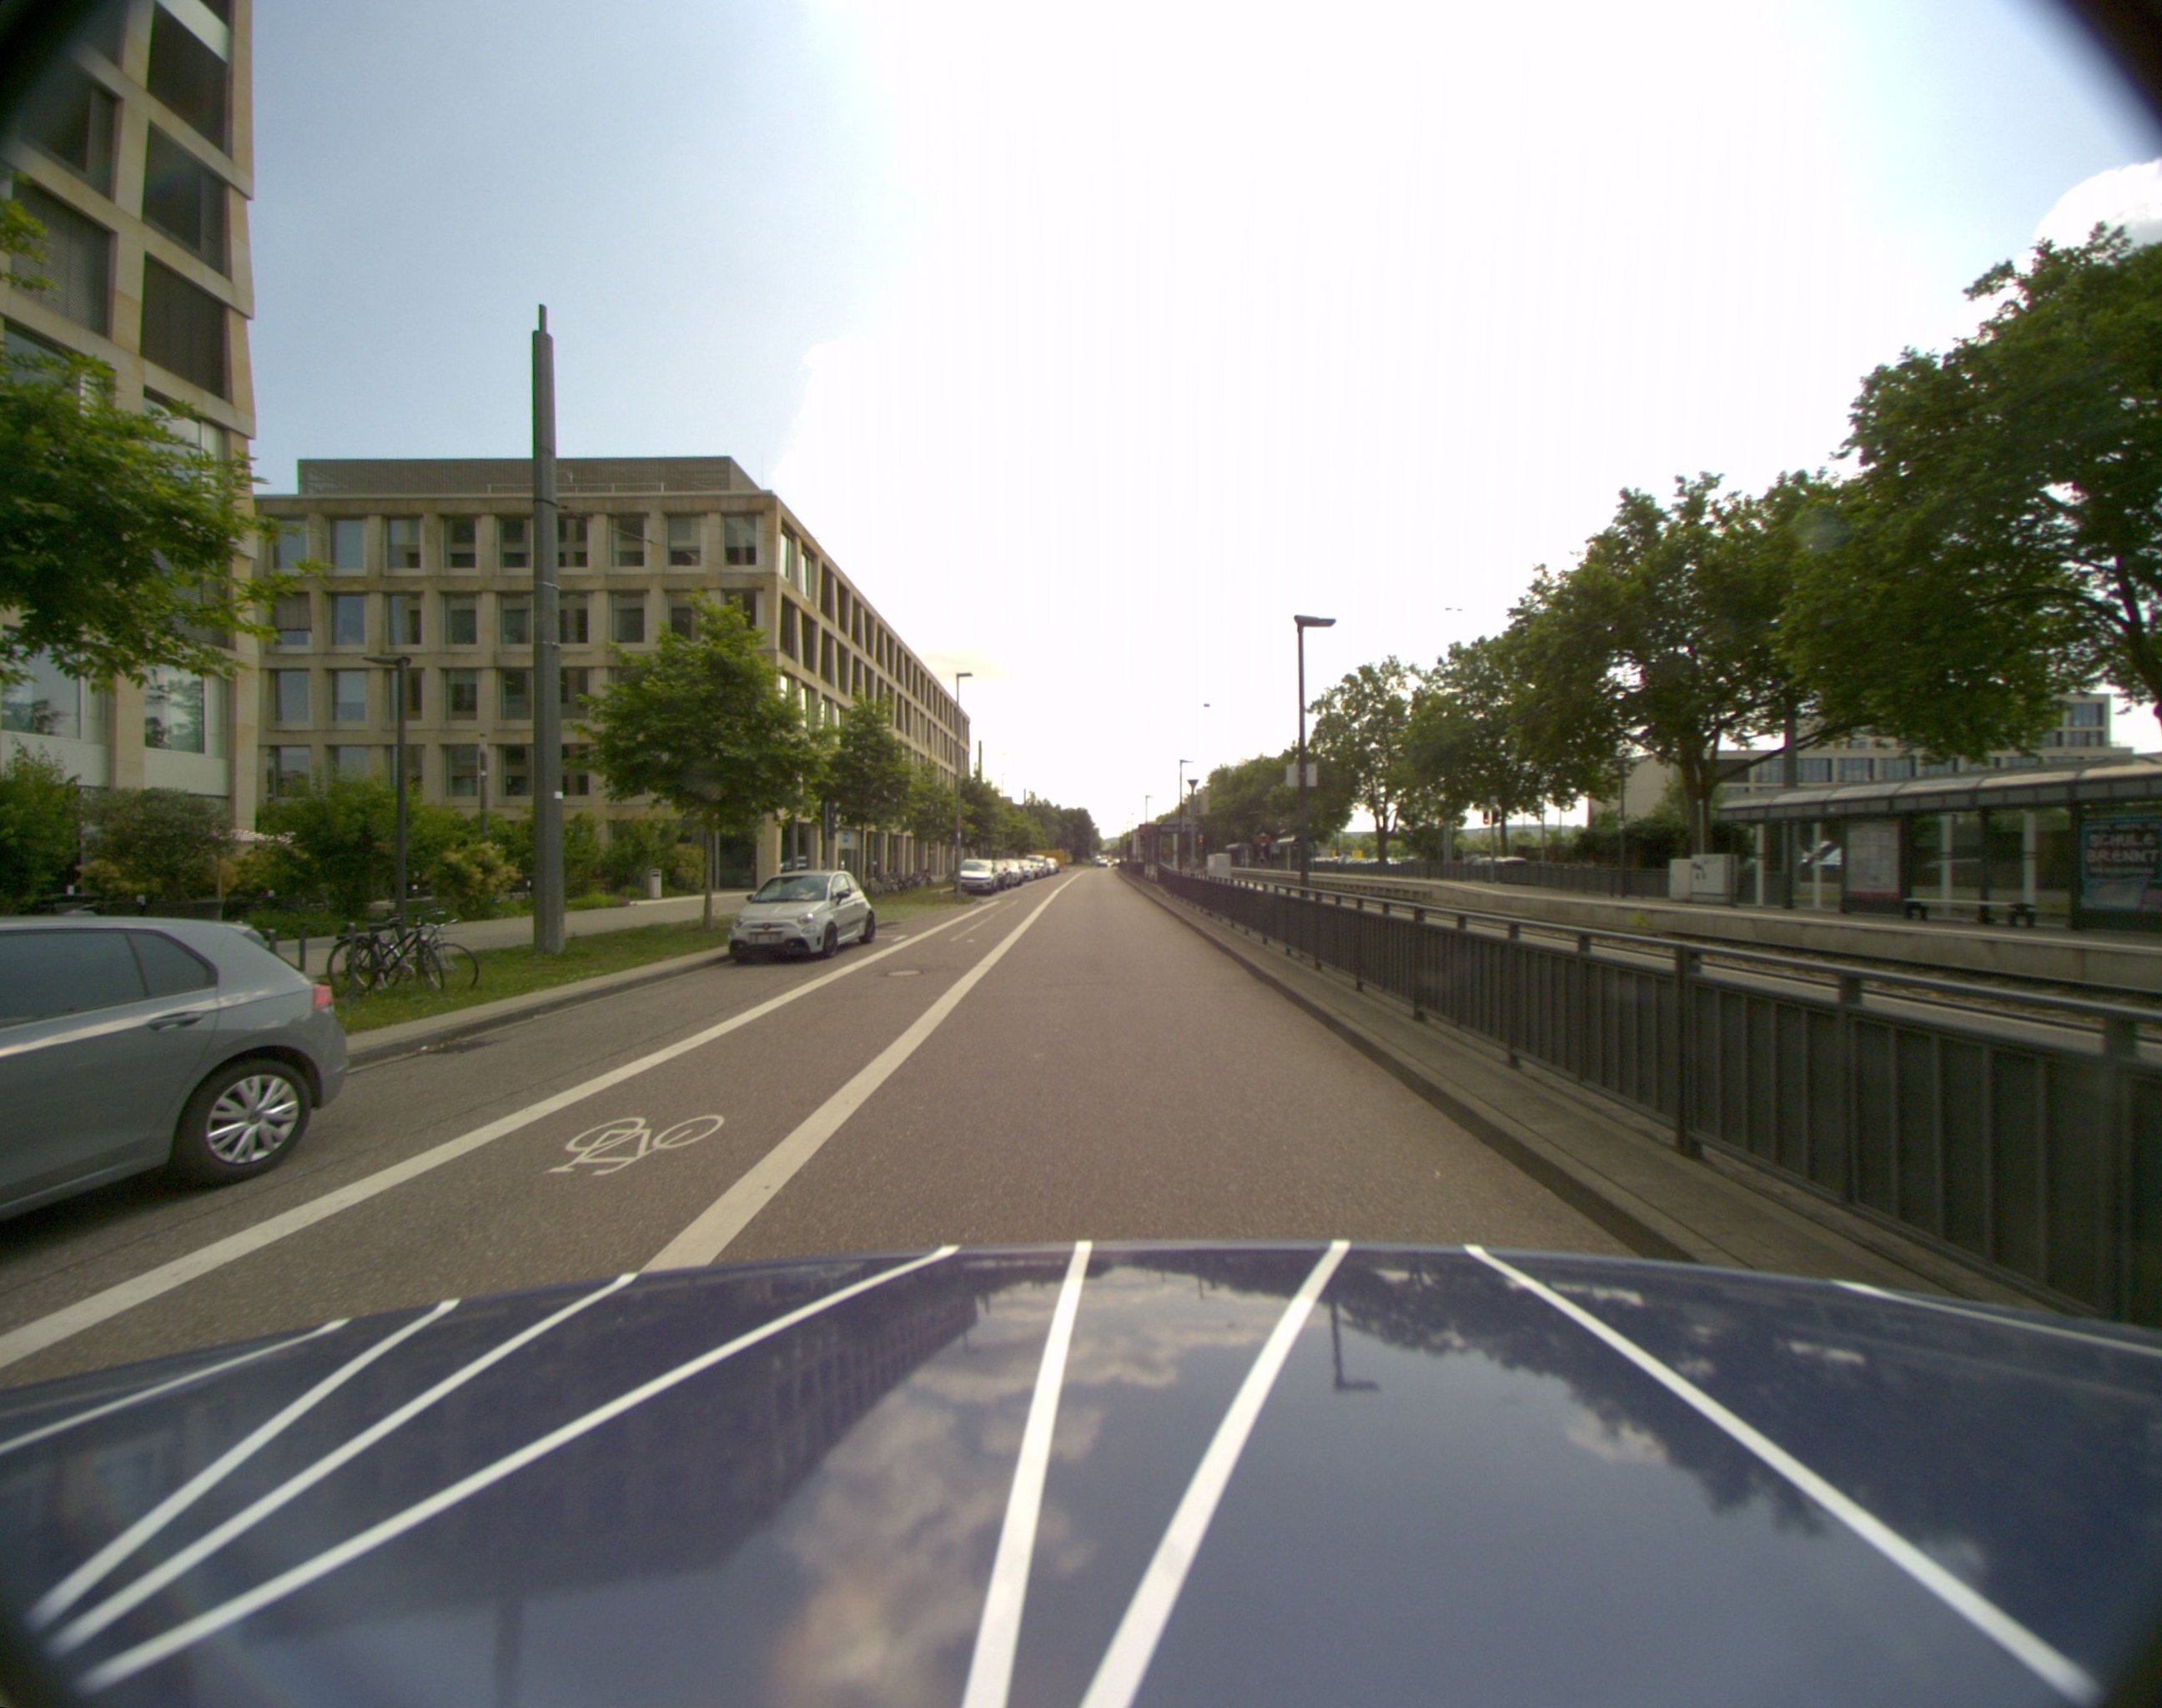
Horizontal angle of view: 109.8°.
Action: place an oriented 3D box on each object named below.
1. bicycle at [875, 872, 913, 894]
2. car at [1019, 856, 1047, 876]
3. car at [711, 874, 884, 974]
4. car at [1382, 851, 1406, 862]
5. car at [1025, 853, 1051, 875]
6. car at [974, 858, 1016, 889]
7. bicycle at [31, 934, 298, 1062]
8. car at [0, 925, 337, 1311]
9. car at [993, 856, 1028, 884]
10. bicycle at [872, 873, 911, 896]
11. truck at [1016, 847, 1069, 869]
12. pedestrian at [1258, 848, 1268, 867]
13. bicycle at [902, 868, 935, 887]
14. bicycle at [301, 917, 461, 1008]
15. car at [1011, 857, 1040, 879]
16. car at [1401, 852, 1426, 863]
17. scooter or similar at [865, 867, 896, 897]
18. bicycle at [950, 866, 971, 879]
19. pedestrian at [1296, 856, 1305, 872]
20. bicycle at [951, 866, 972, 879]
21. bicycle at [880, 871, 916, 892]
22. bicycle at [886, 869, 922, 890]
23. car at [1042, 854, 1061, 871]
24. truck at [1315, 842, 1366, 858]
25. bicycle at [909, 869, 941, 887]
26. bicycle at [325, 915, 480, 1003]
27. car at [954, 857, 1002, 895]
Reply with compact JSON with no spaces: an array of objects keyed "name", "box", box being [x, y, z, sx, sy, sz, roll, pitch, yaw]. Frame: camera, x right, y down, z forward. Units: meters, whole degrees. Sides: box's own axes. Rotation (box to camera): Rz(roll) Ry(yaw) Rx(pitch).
[{"name":"bicycle","box":[-8.153,1.264,33.145,1.499,0.912,0.505,0,4,4]},{"name":"car","box":[-3.872,0.951,61.733,1.886,1.478,4.563,0,0,1]},{"name":"car","box":[-4.950,1.149,13.807,1.595,1.451,3.613,-2,0,3]},{"name":"car","box":[43.972,0.354,106.970,1.802,1.467,4.000,0,0,1]},{"name":"car","box":[-3.787,0.872,67.968,1.886,1.928,4.843,1,0,1]},{"name":"car","box":[-4.544,0.999,40.681,1.689,1.539,3.926,1,0,1]},{"name":"bicycle","box":[-8.676,1.334,7.231,1.827,1.069,0.686,0,1,5]},{"name":"car","box":[-5.156,1.154,2.366,1.595,1.426,4.107,-2,0,0]},{"name":"car","box":[-4.266,0.969,46.533,1.689,1.596,4.152,1,0,1]},{"name":"bicycle","box":[-8.069,1.305,32.347,1.499,0.912,0.505,0,4,4]},{"name":"truck","box":[-4.951,0.501,99.265,6.823,2.851,2.454,0,1,-1]},{"name":"pedestrian","box":[16.967,0.326,70.938,0.708,1.834,0.864,0,0,-4]},{"name":"bicycle","box":[-8.105,1.175,37.855,1.499,0.912,0.505,0,4,4]},{"name":"bicycle","box":[-8.643,1.329,9.392,1.827,1.069,0.275,0,1,5]},{"name":"car","box":[-4.105,1.029,56.969,1.797,1.521,4.159,1,0,1]},{"name":"car","box":[46.788,0.452,106.858,1.802,1.467,4.000,0,0,1]},{"name":"scooter or similar","box":[-8.366,1.165,31.712,1.053,1.168,0.719,-1,1,5]},{"name":"bicycle","box":[-8.044,1.243,50.747,1.386,0.871,0.270,0,4,4]},{"name":"pedestrian","box":[18.269,0.839,63.310,0.554,1.262,0.768,0,0,3]},{"name":"bicycle","box":[-8.018,1.242,51.052,1.386,0.871,0.270,0,4,4]},{"name":"bicycle","box":[-8.192,1.228,34.038,1.499,0.912,0.505,0,4,4]},{"name":"bicycle","box":[-8.094,1.150,34.851,1.499,0.912,0.505,0,4,4]},{"name":"car","box":[-2.988,0.867,78.624,1.725,1.610,3.860,0,0,1]},{"name":"truck","box":[71.183,-1.179,208.766,12.817,4.050,2.748,1,1,3]},{"name":"bicycle","box":[-8.169,1.246,39.826,1.499,0.912,0.505,0,4,4]},{"name":"bicycle","box":[-8.626,1.328,9.664,1.827,1.069,0.275,0,1,5]},{"name":"car","box":[-4.708,0.972,35.235,1.690,1.624,3.990,2,0,-1]}]
